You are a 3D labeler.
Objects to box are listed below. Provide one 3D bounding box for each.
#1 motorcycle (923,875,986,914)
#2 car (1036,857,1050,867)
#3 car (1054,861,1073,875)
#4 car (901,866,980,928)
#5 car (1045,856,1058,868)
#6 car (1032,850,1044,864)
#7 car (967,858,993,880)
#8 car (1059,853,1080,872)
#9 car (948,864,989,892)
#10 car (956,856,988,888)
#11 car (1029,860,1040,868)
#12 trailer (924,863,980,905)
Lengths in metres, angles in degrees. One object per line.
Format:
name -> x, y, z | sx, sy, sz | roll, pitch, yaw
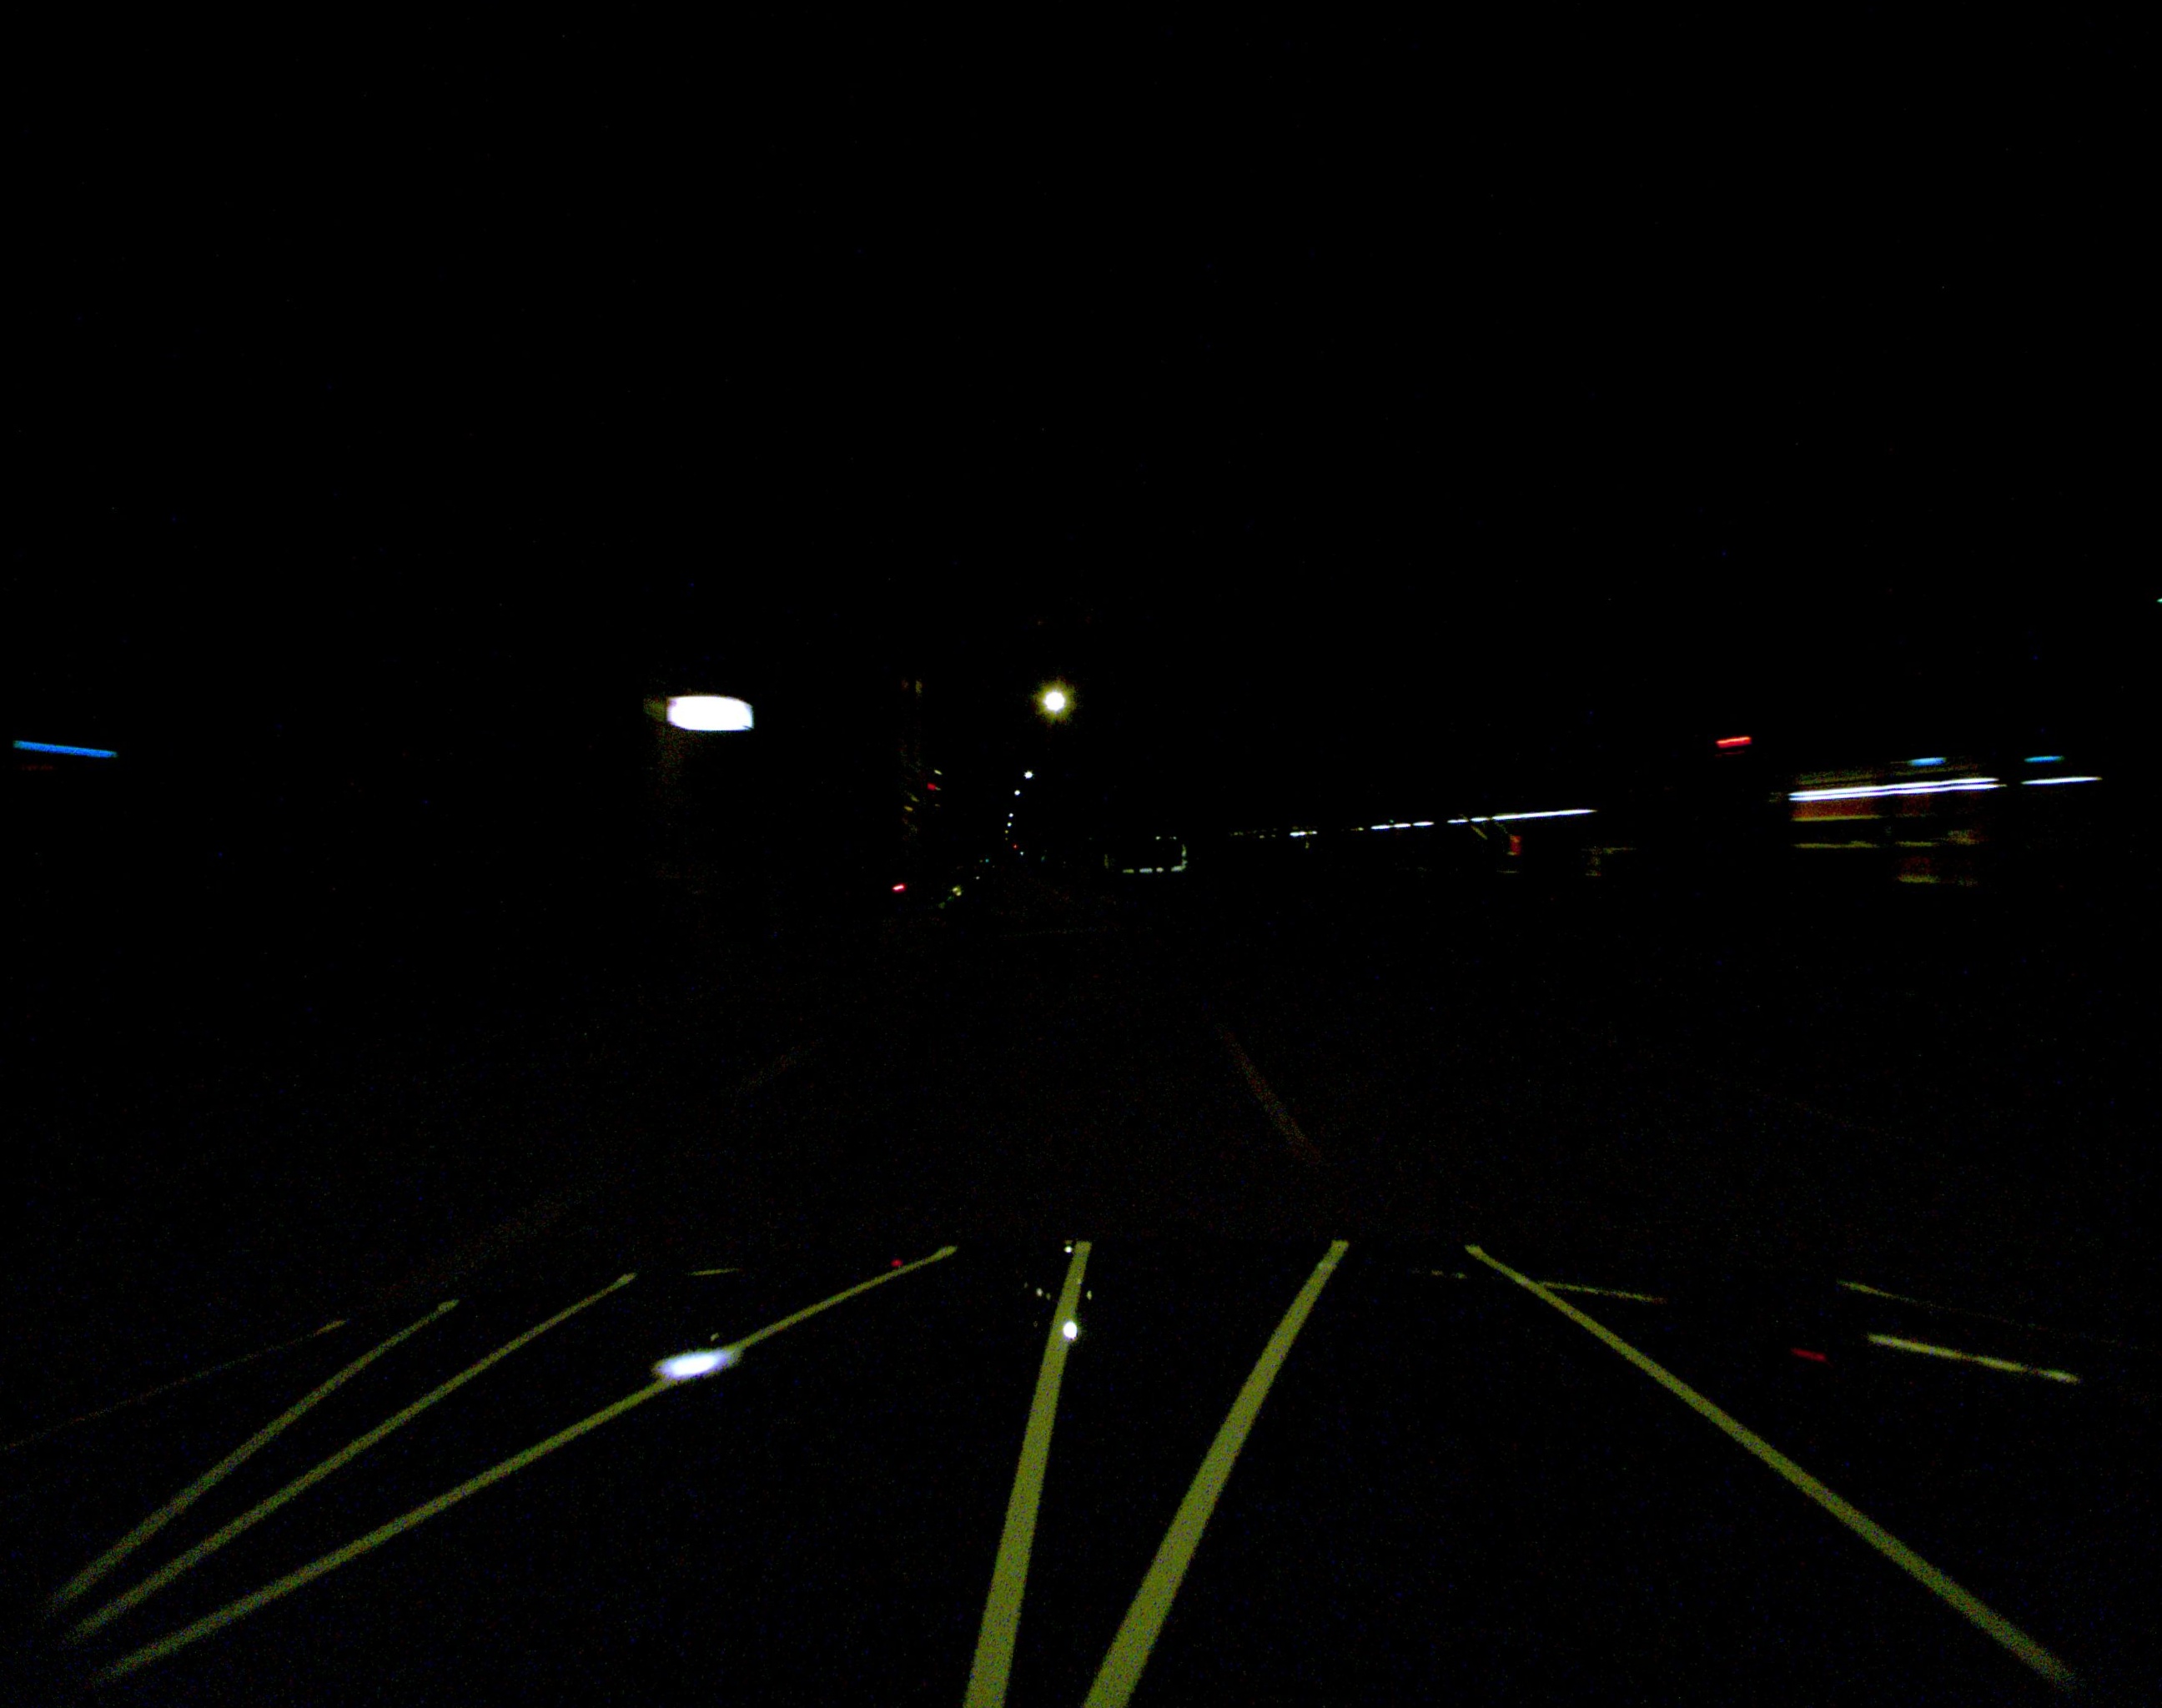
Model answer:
motorcycle -> -4.058, 1.301, 24.594 | 0.727, 1.124, 2.232 | -2, 0, 28
car -> -6.135, 1.243, 122.663 | 1.827, 1.423, 3.729 | -4, 0, -7
car -> -2.014, 1.602, 86.262 | 1.827, 1.423, 3.730 | -4, 0, -4
car -> -3.773, 1.111, 20.922 | 1.591, 1.452, 3.796 | -2, 0, -3
car -> -4.237, 1.119, 108.194 | 1.827, 1.637, 3.730 | 0, 0, -4
car -> -8.642, 0.618, 152.827 | 2.006, 2.493, 4.951 | -4, 0, -7
car -> -7.886, 1.124, 59.220 | 1.935, 1.655, 3.771 | 0, 0, -8
car -> -1.203, 0.883, 80.268 | 1.883, 1.798, 3.730 | -4, 0, -4
car -> -5.788, 1.202, 39.550 | 1.781, 1.351, 4.421 | 0, 0, -5
car -> -6.466, 1.036, 45.138 | 1.782, 1.762, 4.419 | 0, 0, -9
car -> -8.642, 1.860, 141.177 | 1.827, 1.423, 3.729 | -4, 0, -7
trailer -> -5.016, 1.127, 29.978 | 1.605, 1.486, 3.733 | -2, 0, -1
